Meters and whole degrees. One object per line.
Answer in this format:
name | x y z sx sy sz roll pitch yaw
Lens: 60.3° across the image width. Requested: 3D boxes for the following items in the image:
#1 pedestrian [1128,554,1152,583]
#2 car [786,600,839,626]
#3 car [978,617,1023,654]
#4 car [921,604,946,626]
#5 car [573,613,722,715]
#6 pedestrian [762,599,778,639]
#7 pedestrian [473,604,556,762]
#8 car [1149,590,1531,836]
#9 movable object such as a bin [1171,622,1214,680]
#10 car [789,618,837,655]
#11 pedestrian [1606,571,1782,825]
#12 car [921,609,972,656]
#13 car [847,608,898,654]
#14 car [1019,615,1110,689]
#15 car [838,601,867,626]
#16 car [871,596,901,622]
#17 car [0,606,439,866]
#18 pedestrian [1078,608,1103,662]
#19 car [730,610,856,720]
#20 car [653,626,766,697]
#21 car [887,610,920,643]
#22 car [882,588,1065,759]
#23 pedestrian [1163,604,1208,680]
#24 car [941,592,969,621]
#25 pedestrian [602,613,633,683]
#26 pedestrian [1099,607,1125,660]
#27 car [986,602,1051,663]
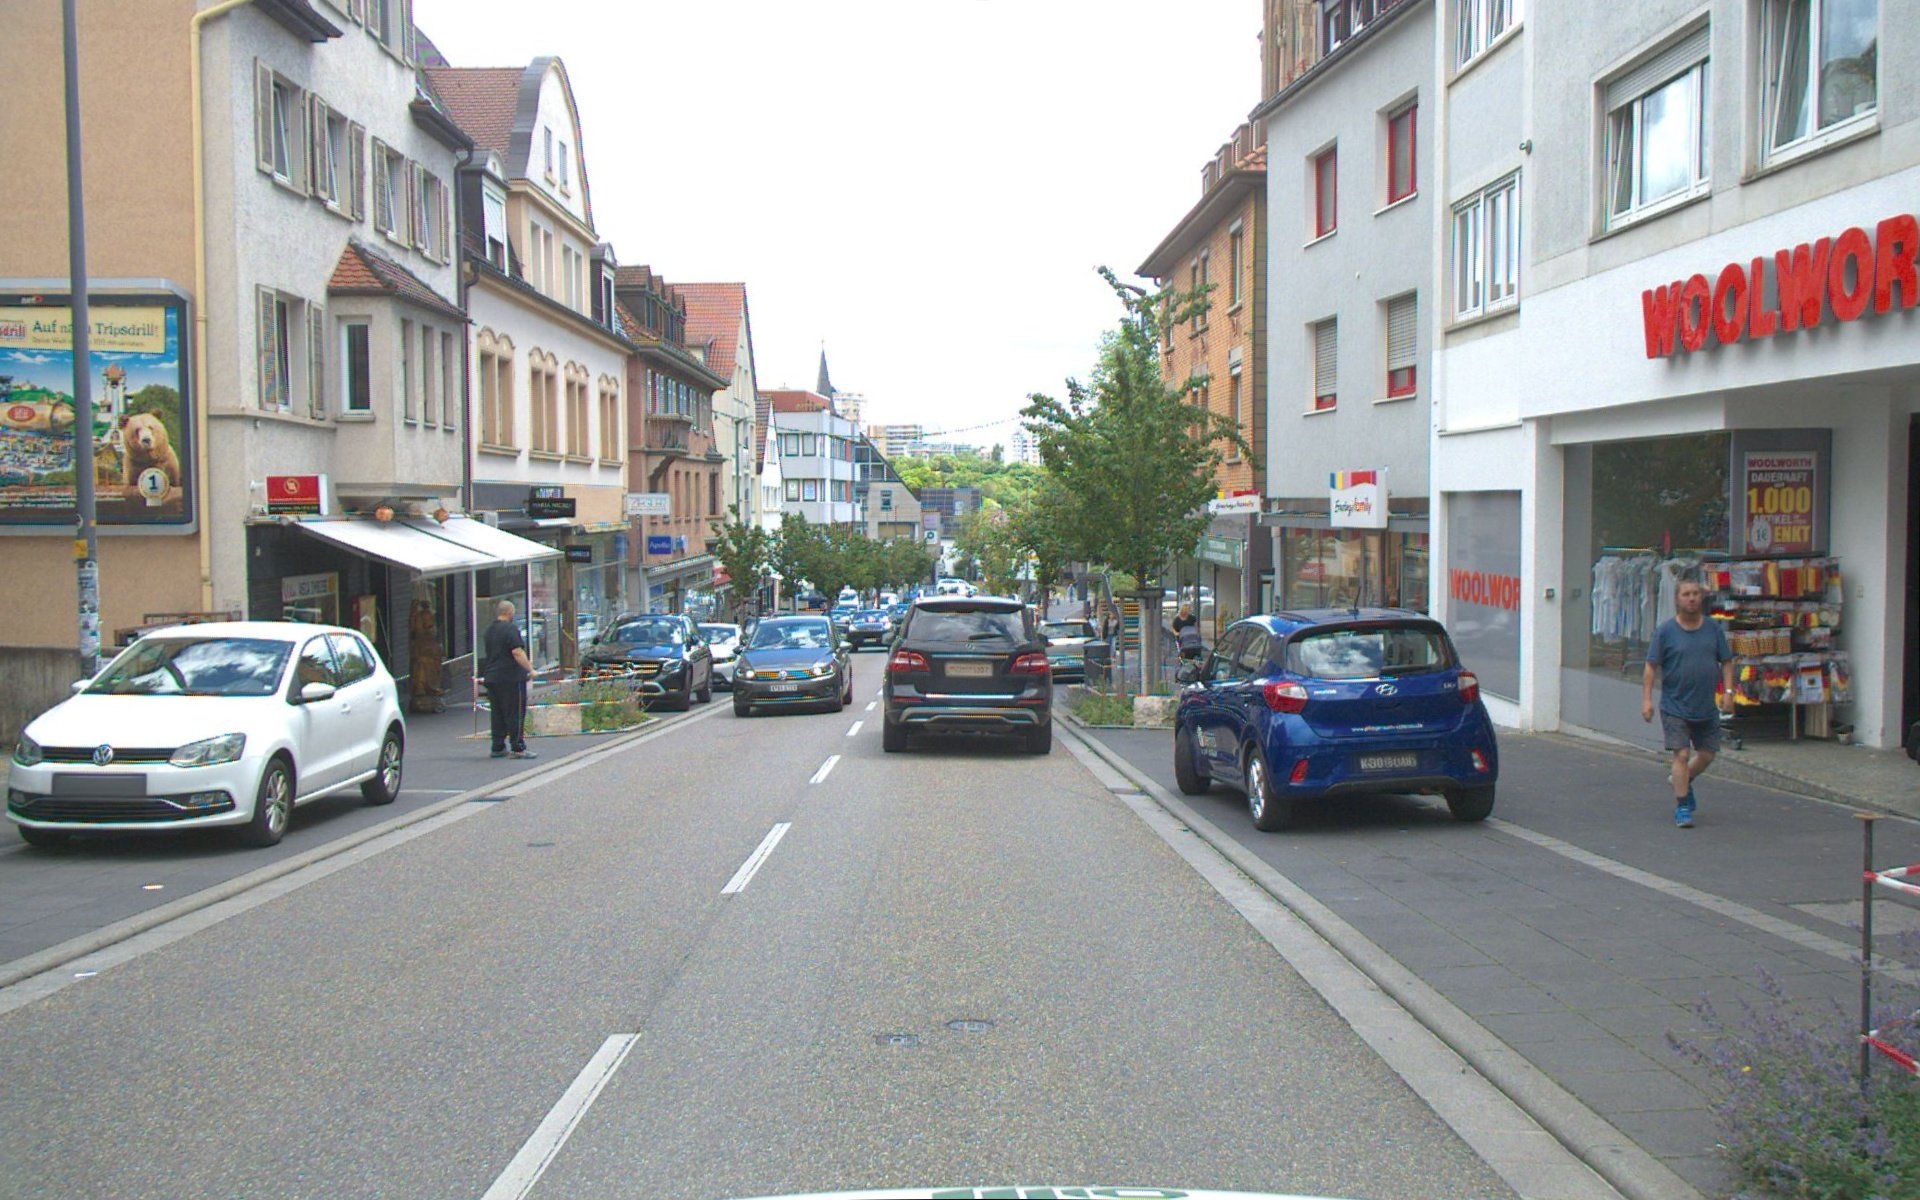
pedestrian | 8.033 -1.420 73.869 0.970 1.253 0.984 0 -1 1
car | -11.220 0.990 125.900 3.909 1.780 1.998 -3 -1 -5
car | 1.826 1.587 75.140 1.898 1.482 4.706 -1 0 0
car | -1.979 1.113 123.165 1.775 1.534 3.998 -1 0 -2
car | -5.474 1.083 29.554 1.888 1.650 4.637 1 -1 -2
pedestrian | -8.205 0.808 71.424 0.628 1.697 0.720 0 -1 -2
pedestrian | -4.944 0.900 18.383 0.722 1.701 0.862 0 0 -4
car | 2.738 0.791 12.838 1.714 1.524 3.795 -3 -1 -6
movable object such as a bin | 4.935 1.083 35.178 0.707 1.178 0.906 -3 -1 -2
car | -6.592 1.623 74.661 1.888 1.523 4.260 2 0 -2
pedestrian | 4.798 0.619 10.856 0.741 1.588 0.817 -1 0 -4
car | -0.519 1.222 64.358 1.887 1.657 4.261 2 0 -1
car | -3.566 1.251 67.860 1.952 1.748 4.445 -1 0 -2
car | 2.438 1.198 39.511 1.713 1.491 4.073 -4 0 -2
car | -7.678 0.953 118.616 1.888 1.657 4.412 2 0 -2
car | -5.154 0.610 115.686 1.887 1.657 4.261 2 0 -1
car | -5.487 0.854 12.396 1.888 1.538 4.260 1 0 -2
pedestrian | 4.111 1.111 52.142 0.658 1.661 0.669 -2 -1 -3
car | -2.727 1.044 27.847 1.782 1.646 4.134 -2 -1 -2
car | -5.572 1.333 37.303 1.887 1.455 4.262 0 0 0
car | -3.031 1.400 89.279 1.729 1.645 4.031 -2 0 -2
car | 0.130 0.779 19.572 1.904 1.770 4.178 1 0 0
pedestrian | 4.908 0.907 36.047 0.720 1.612 1.000 -3 -1 -2
car | -0.419 0.577 143.319 2.128 2.405 4.624 -3 0 3
pedestrian | -8.033 1.116 38.789 0.536 1.603 0.863 -1 0 -2
pedestrian | 4.800 1.056 52.307 0.658 1.661 0.669 -2 -1 -3
car | 1.962 1.089 57.156 1.899 1.924 4.705 -2 0 -1
